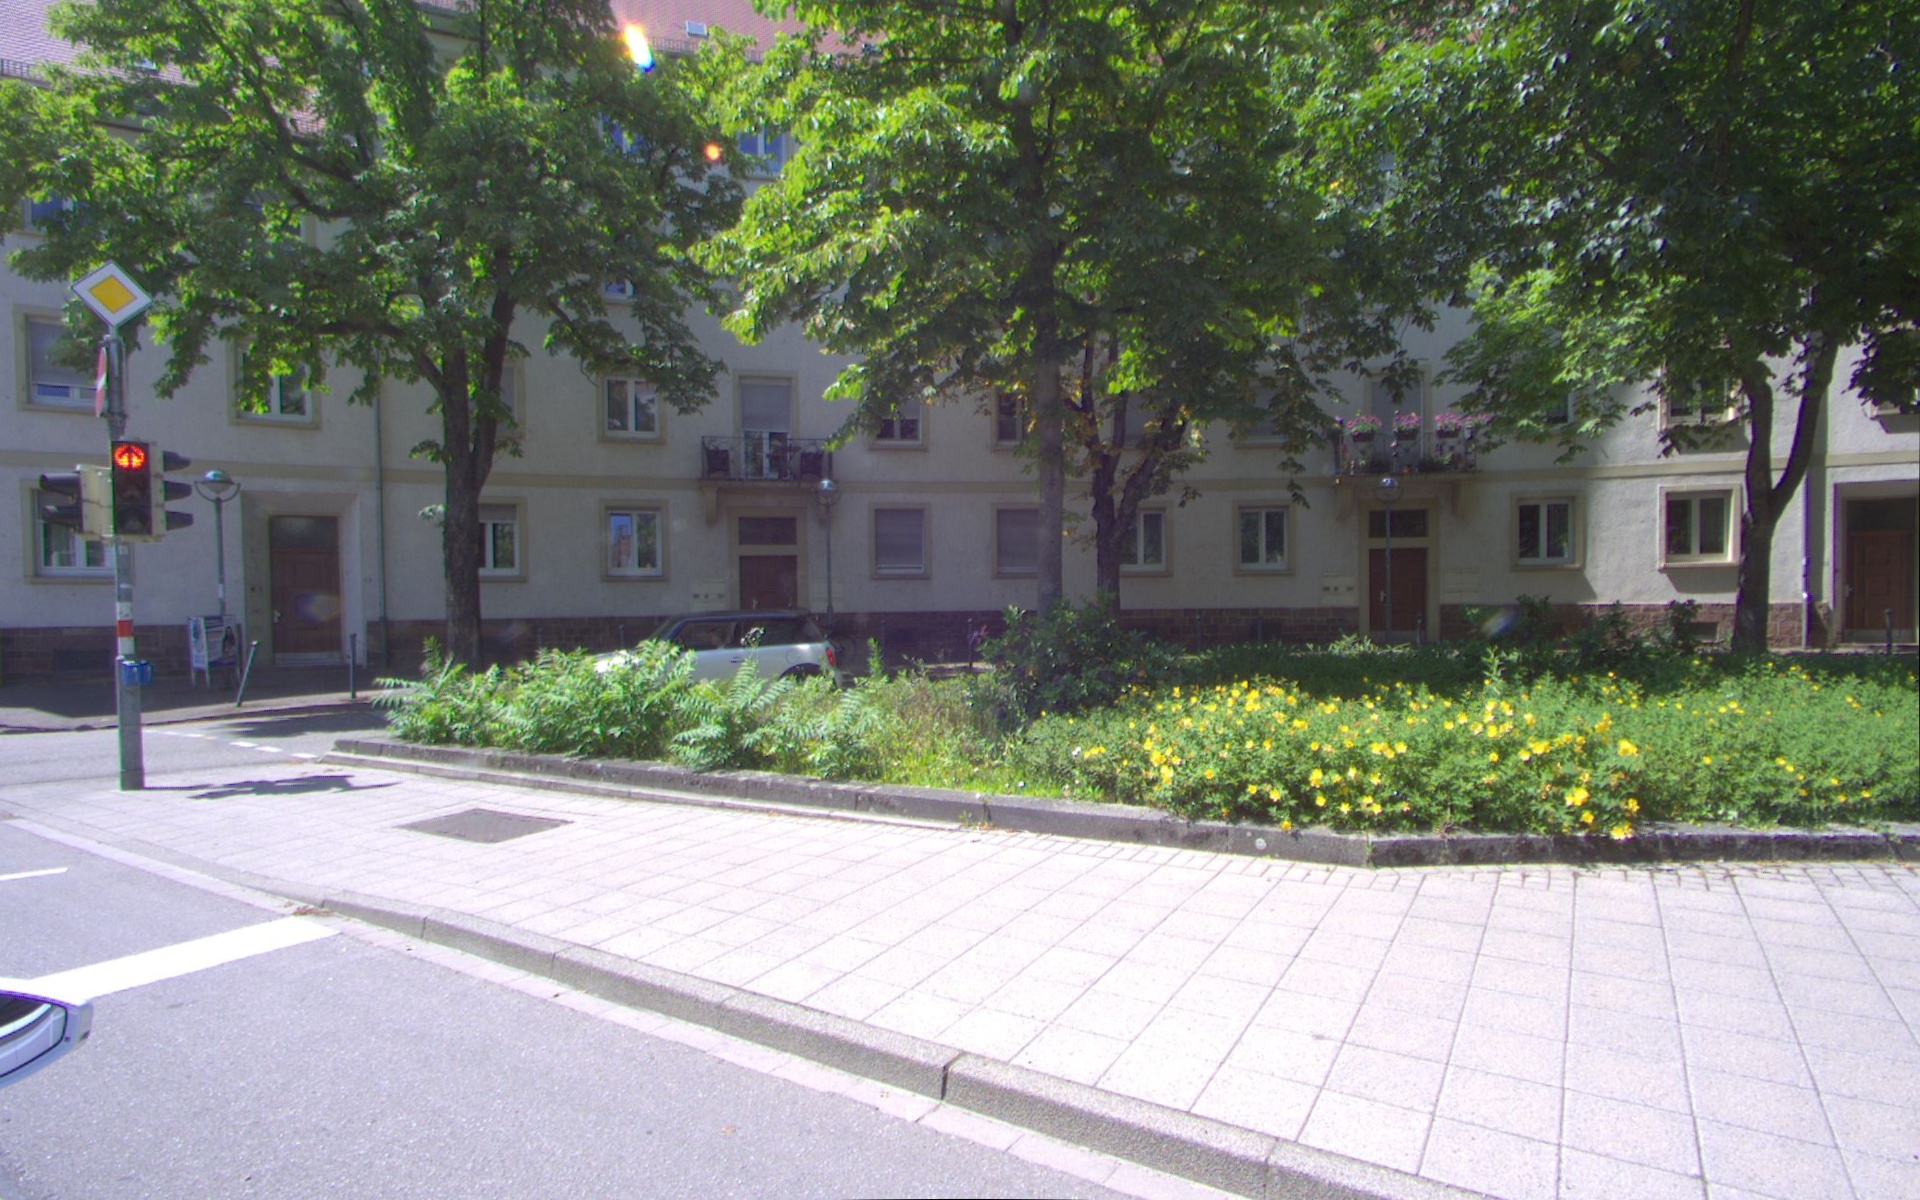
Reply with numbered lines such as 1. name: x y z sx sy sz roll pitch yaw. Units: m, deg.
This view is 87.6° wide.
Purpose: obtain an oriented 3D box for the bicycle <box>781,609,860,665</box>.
1. bicycle: -2.887 0.758 20.867 1.575 1.119 0.525 -1 1 -4

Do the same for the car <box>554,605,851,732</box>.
1. car: -3.350 0.841 13.321 3.585 1.526 1.703 0 0 -14
